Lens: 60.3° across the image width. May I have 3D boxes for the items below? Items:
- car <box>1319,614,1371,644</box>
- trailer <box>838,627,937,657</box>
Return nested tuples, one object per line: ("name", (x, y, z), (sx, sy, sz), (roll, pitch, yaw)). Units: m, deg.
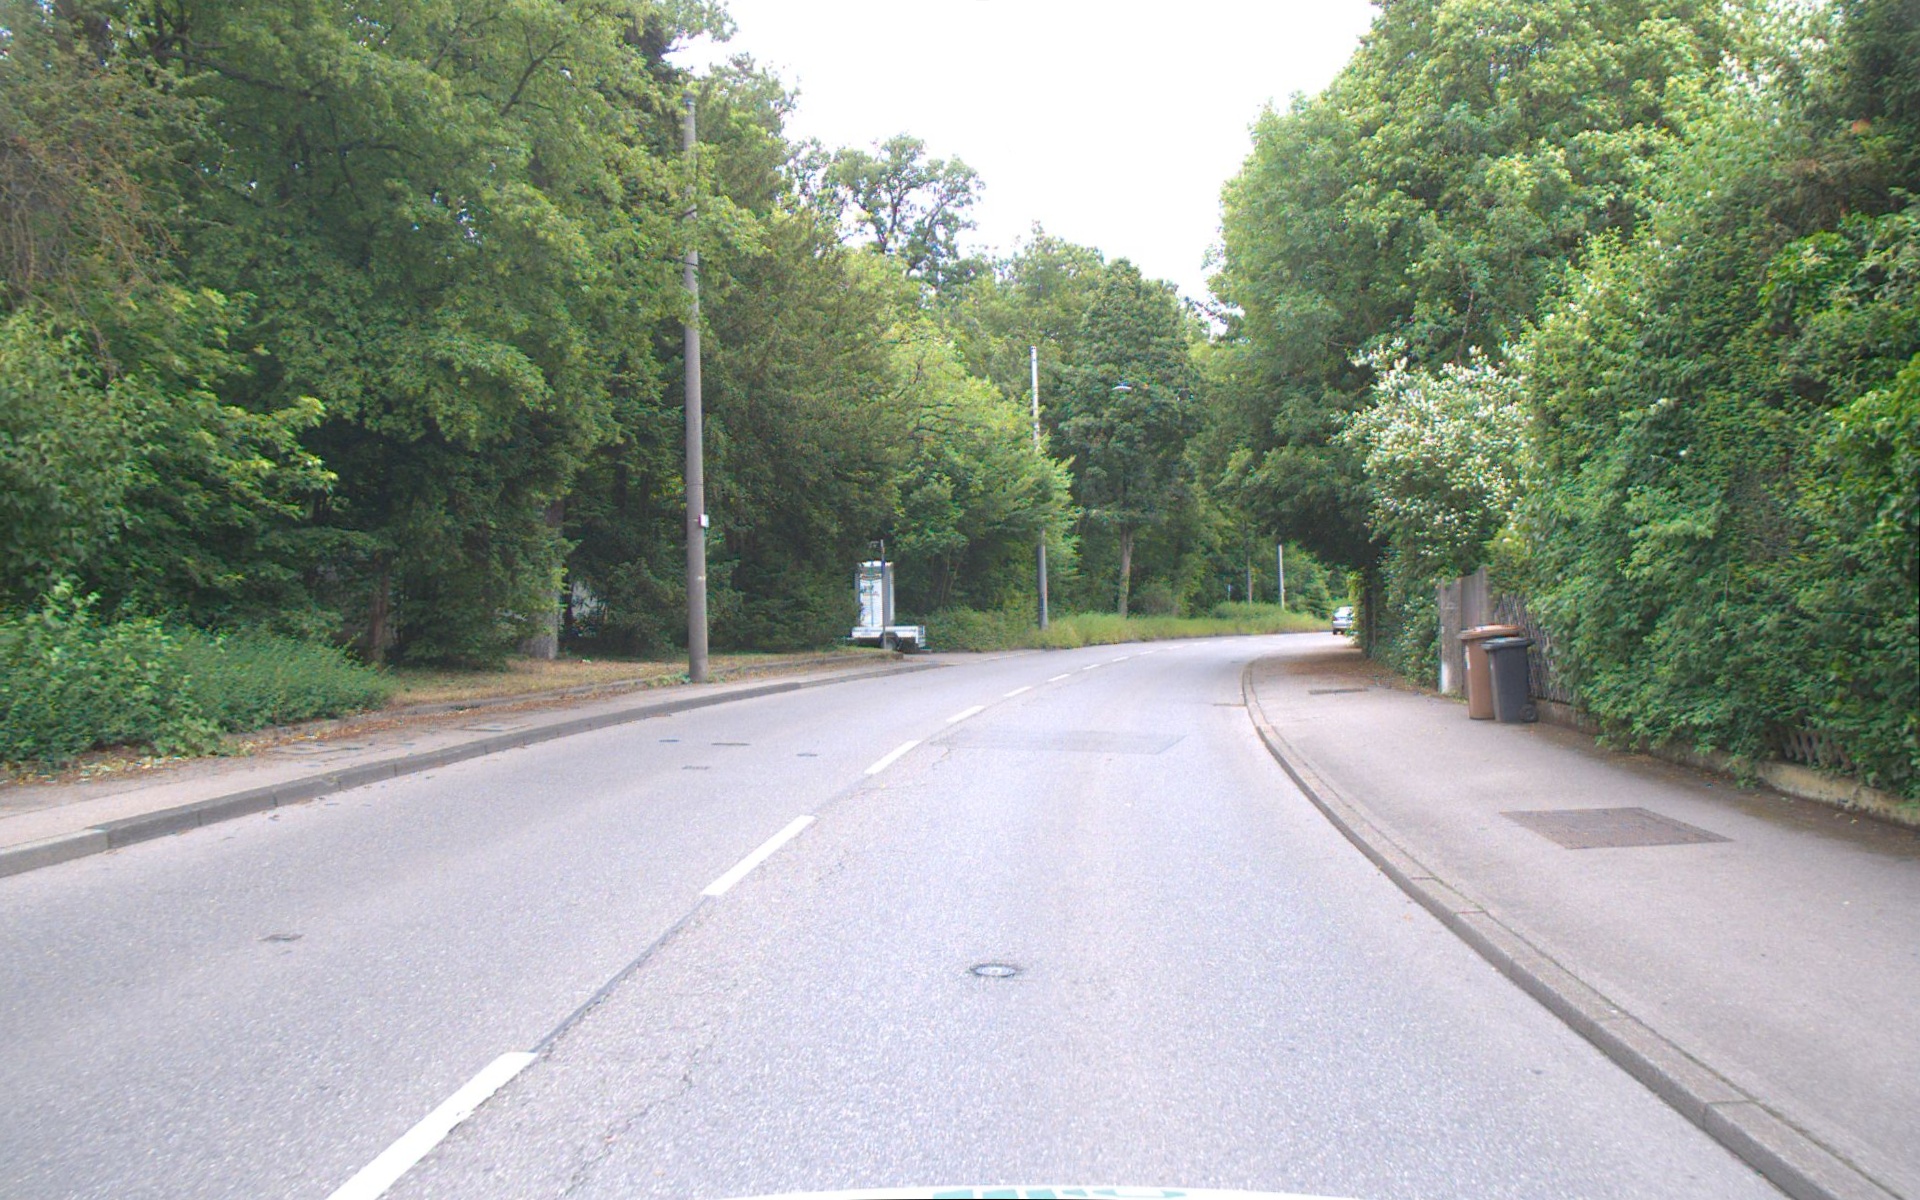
("car", (20.434, 1.535, 87.731), (1.953, 1.512, 3.998), (-2, -1, 24))
("trailer", (-2.181, 1.282, 50.363), (2.894, 0.843, 1.476), (-1, -1, 1))
